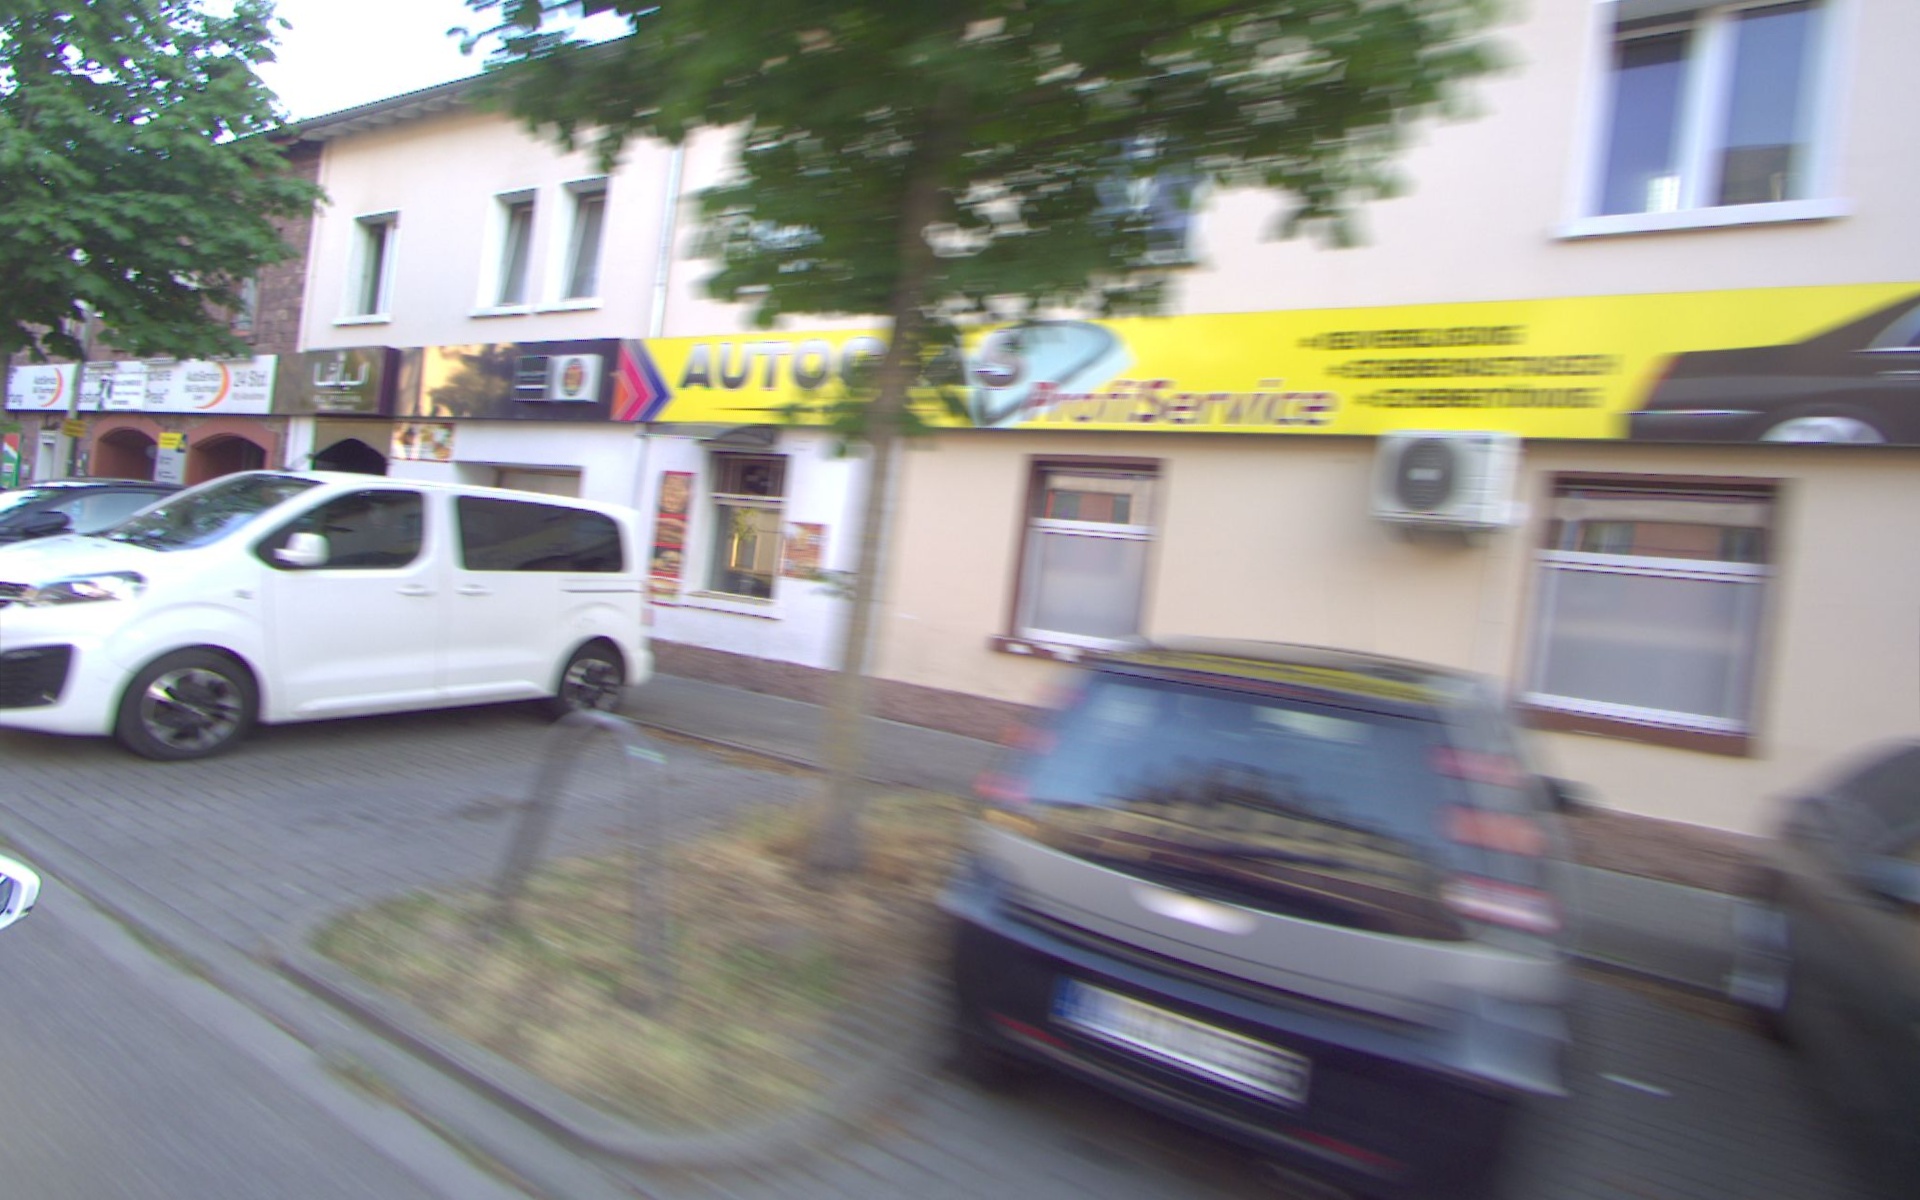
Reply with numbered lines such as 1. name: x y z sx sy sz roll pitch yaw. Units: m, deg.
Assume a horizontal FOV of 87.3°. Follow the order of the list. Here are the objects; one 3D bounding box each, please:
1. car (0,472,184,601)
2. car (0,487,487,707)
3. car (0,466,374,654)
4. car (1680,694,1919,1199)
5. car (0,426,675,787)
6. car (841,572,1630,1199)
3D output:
1. car: -12.809 -0.901 12.997 1.813 1.566 3.988 7 2 30
2. car: -6.599 -0.065 8.865 1.861 1.516 3.986 7 3 32
3. car: -8.852 -0.431 10.109 1.967 1.653 4.694 7 3 32
4. car: 3.480 1.170 2.689 1.967 1.514 4.728 8 0 31
5. car: -4.662 -0.038 7.632 1.979 1.887 4.585 7 4 32
6. car: 1.378 0.839 3.980 1.652 1.516 3.789 7 1 29
